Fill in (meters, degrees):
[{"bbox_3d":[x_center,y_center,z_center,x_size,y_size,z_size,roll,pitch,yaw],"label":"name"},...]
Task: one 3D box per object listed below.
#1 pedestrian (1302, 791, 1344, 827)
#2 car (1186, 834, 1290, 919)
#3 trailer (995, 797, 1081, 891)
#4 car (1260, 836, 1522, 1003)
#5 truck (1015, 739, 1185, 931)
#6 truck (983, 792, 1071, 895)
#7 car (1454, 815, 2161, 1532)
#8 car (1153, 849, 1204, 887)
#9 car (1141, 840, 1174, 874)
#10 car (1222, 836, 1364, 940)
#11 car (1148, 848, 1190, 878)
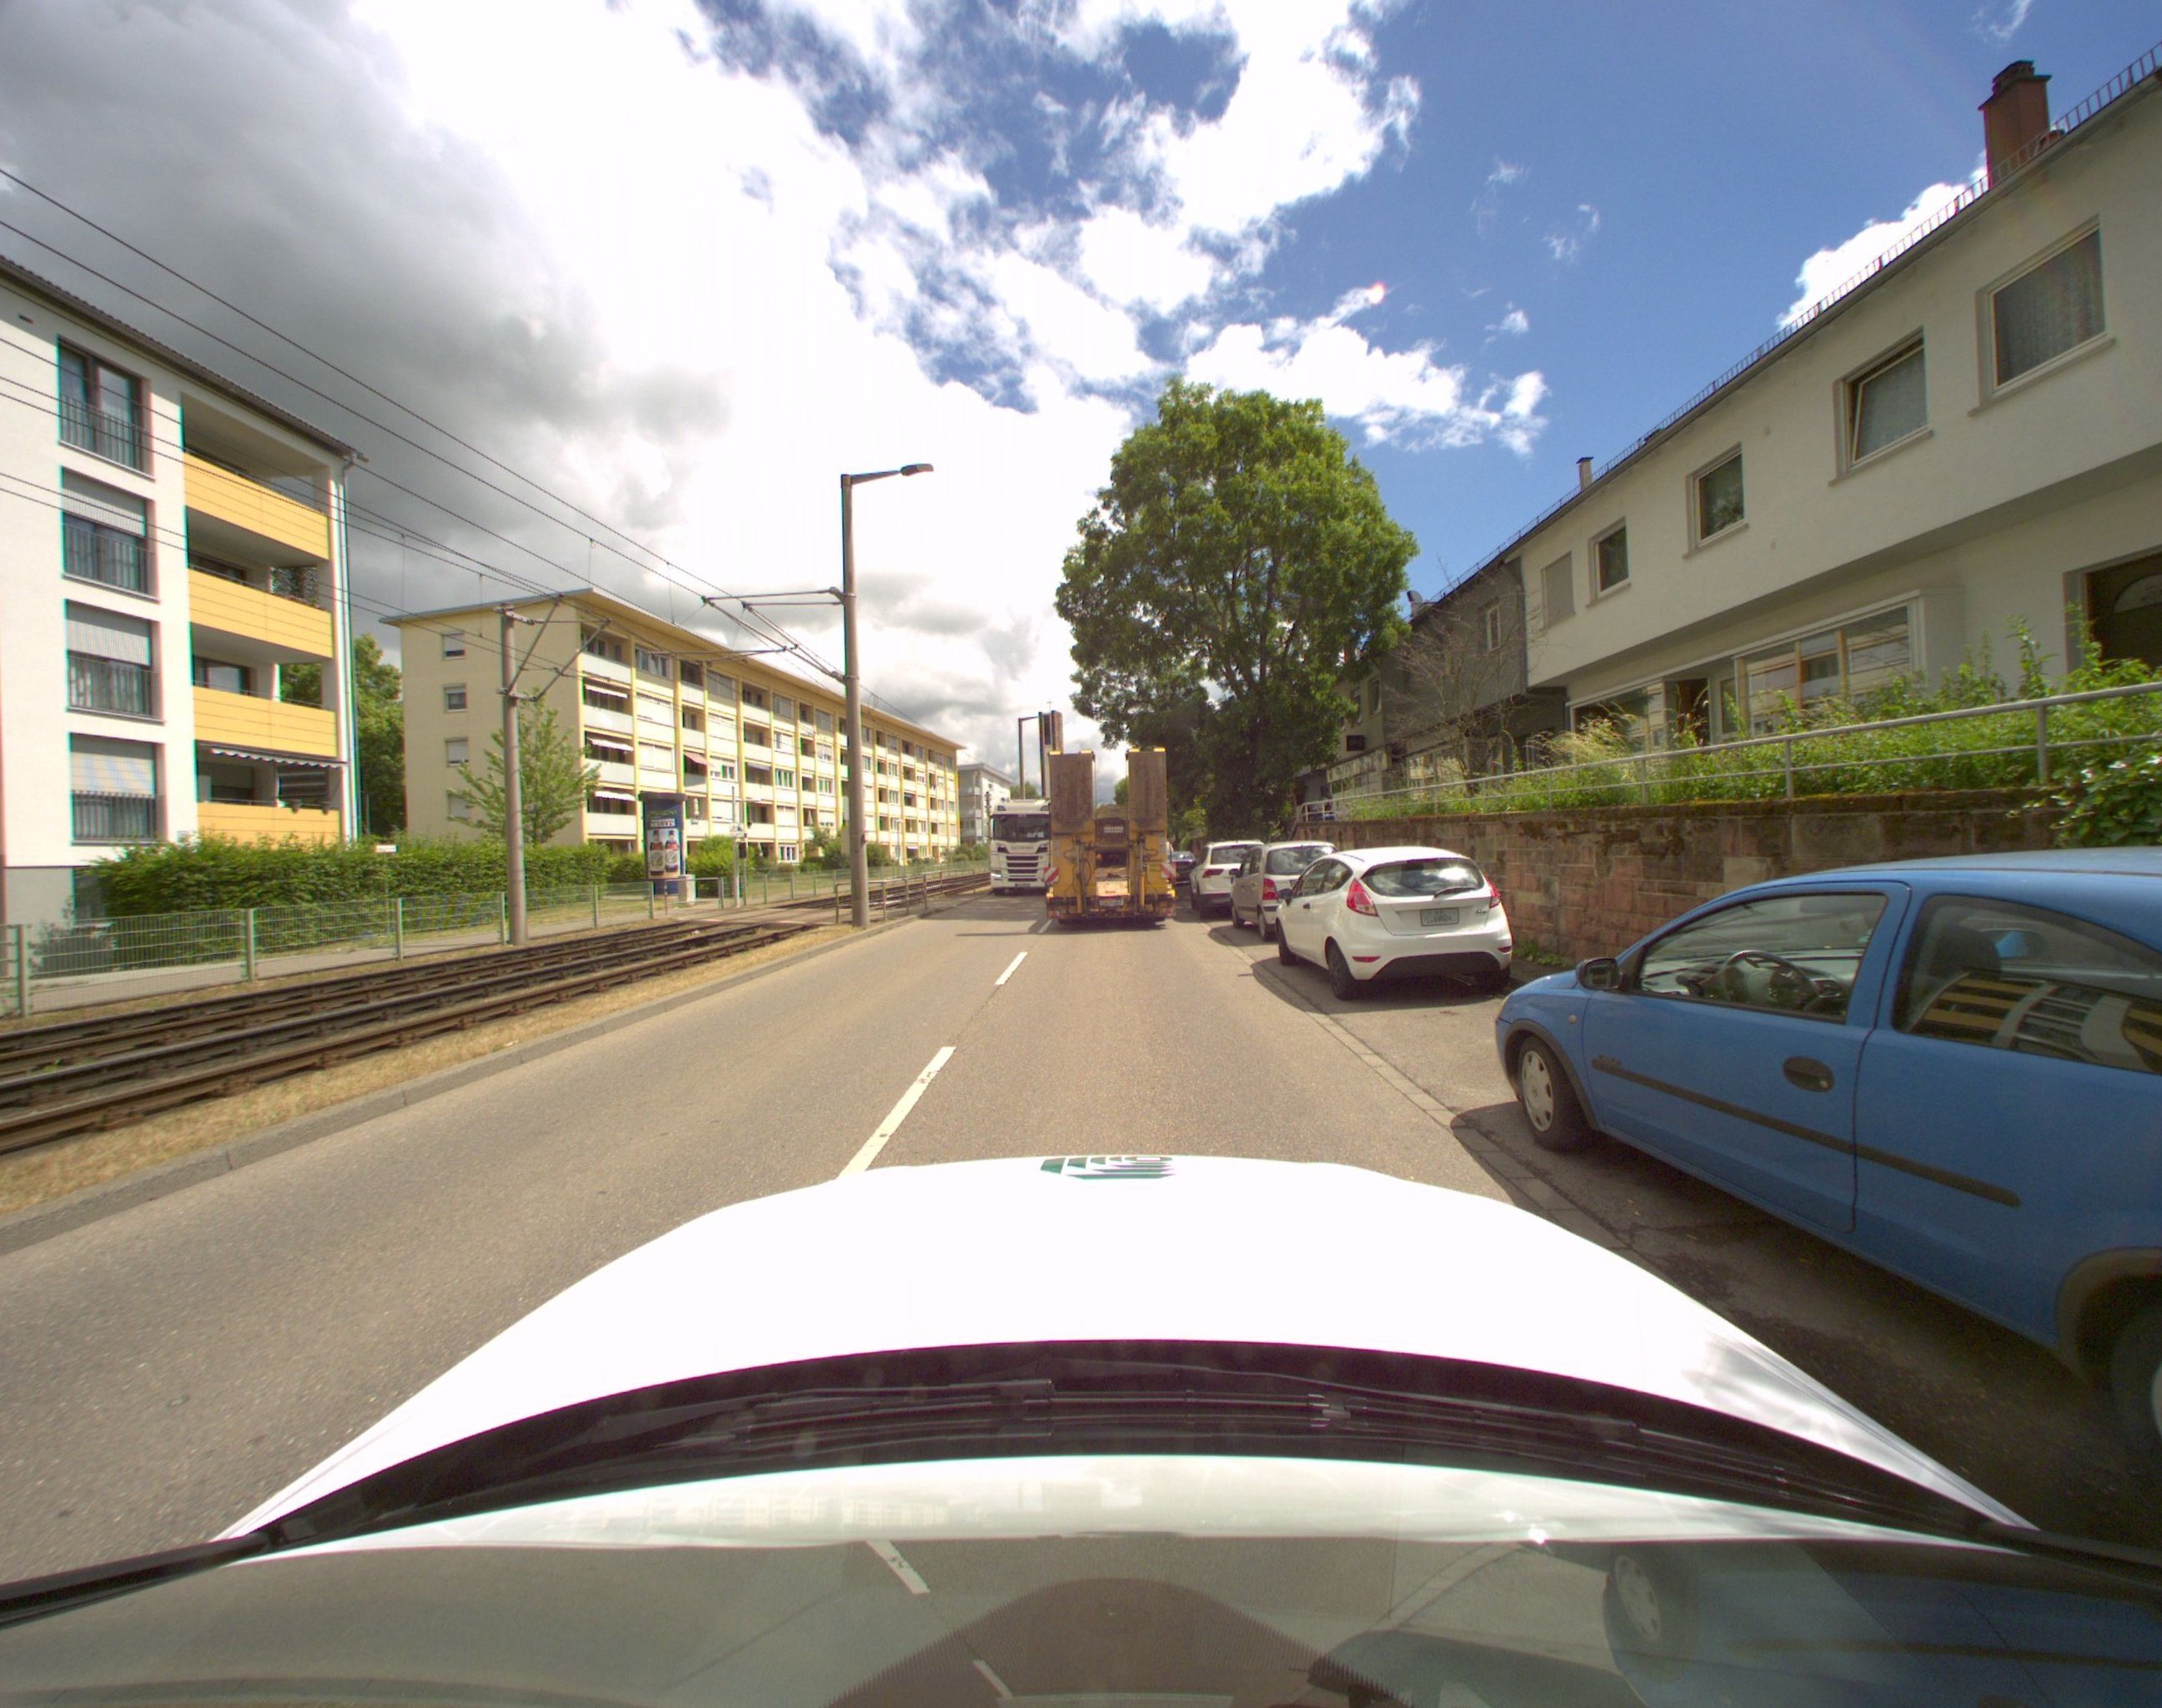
[{"bbox_3d":[5.750,-1.067,19.378,0.792,0.790,0.705,-2,0,0],"label":"pedestrian"},{"bbox_3d":[3.552,0.432,19.189,1.815,1.682,4.581,-3,1,4],"label":"car"},{"bbox_3d":[-1.665,-0.477,38.344,2.687,3.580,13.683,-1,1,2],"label":"trailer"},{"bbox_3d":[3.275,0.580,9.406,1.639,1.489,3.823,-2,1,2],"label":"car"},{"bbox_3d":[0.605,-0.432,21.720,3.112,3.564,12.467,-2,1,2],"label":"truck"},{"bbox_3d":[-1.943,-0.397,31.725,2.687,3.580,6.148,-1,1,2],"label":"truck"},{"bbox_3d":[3.026,0.641,2.930,1.603,1.456,3.675,-4,0,0],"label":"car"},{"bbox_3d":[4.079,0.533,34.707,1.828,1.405,4.418,-3,1,3],"label":"car"},{"bbox_3d":[4.883,0.172,52.435,1.792,1.968,4.593,-3,0,2],"label":"car"},{"bbox_3d":[3.590,0.505,14.378,1.576,1.552,3.475,-2,1,0],"label":"car"},{"bbox_3d":[4.471,0.423,41.836,1.684,1.405,4.069,-3,1,1],"label":"car"}]
